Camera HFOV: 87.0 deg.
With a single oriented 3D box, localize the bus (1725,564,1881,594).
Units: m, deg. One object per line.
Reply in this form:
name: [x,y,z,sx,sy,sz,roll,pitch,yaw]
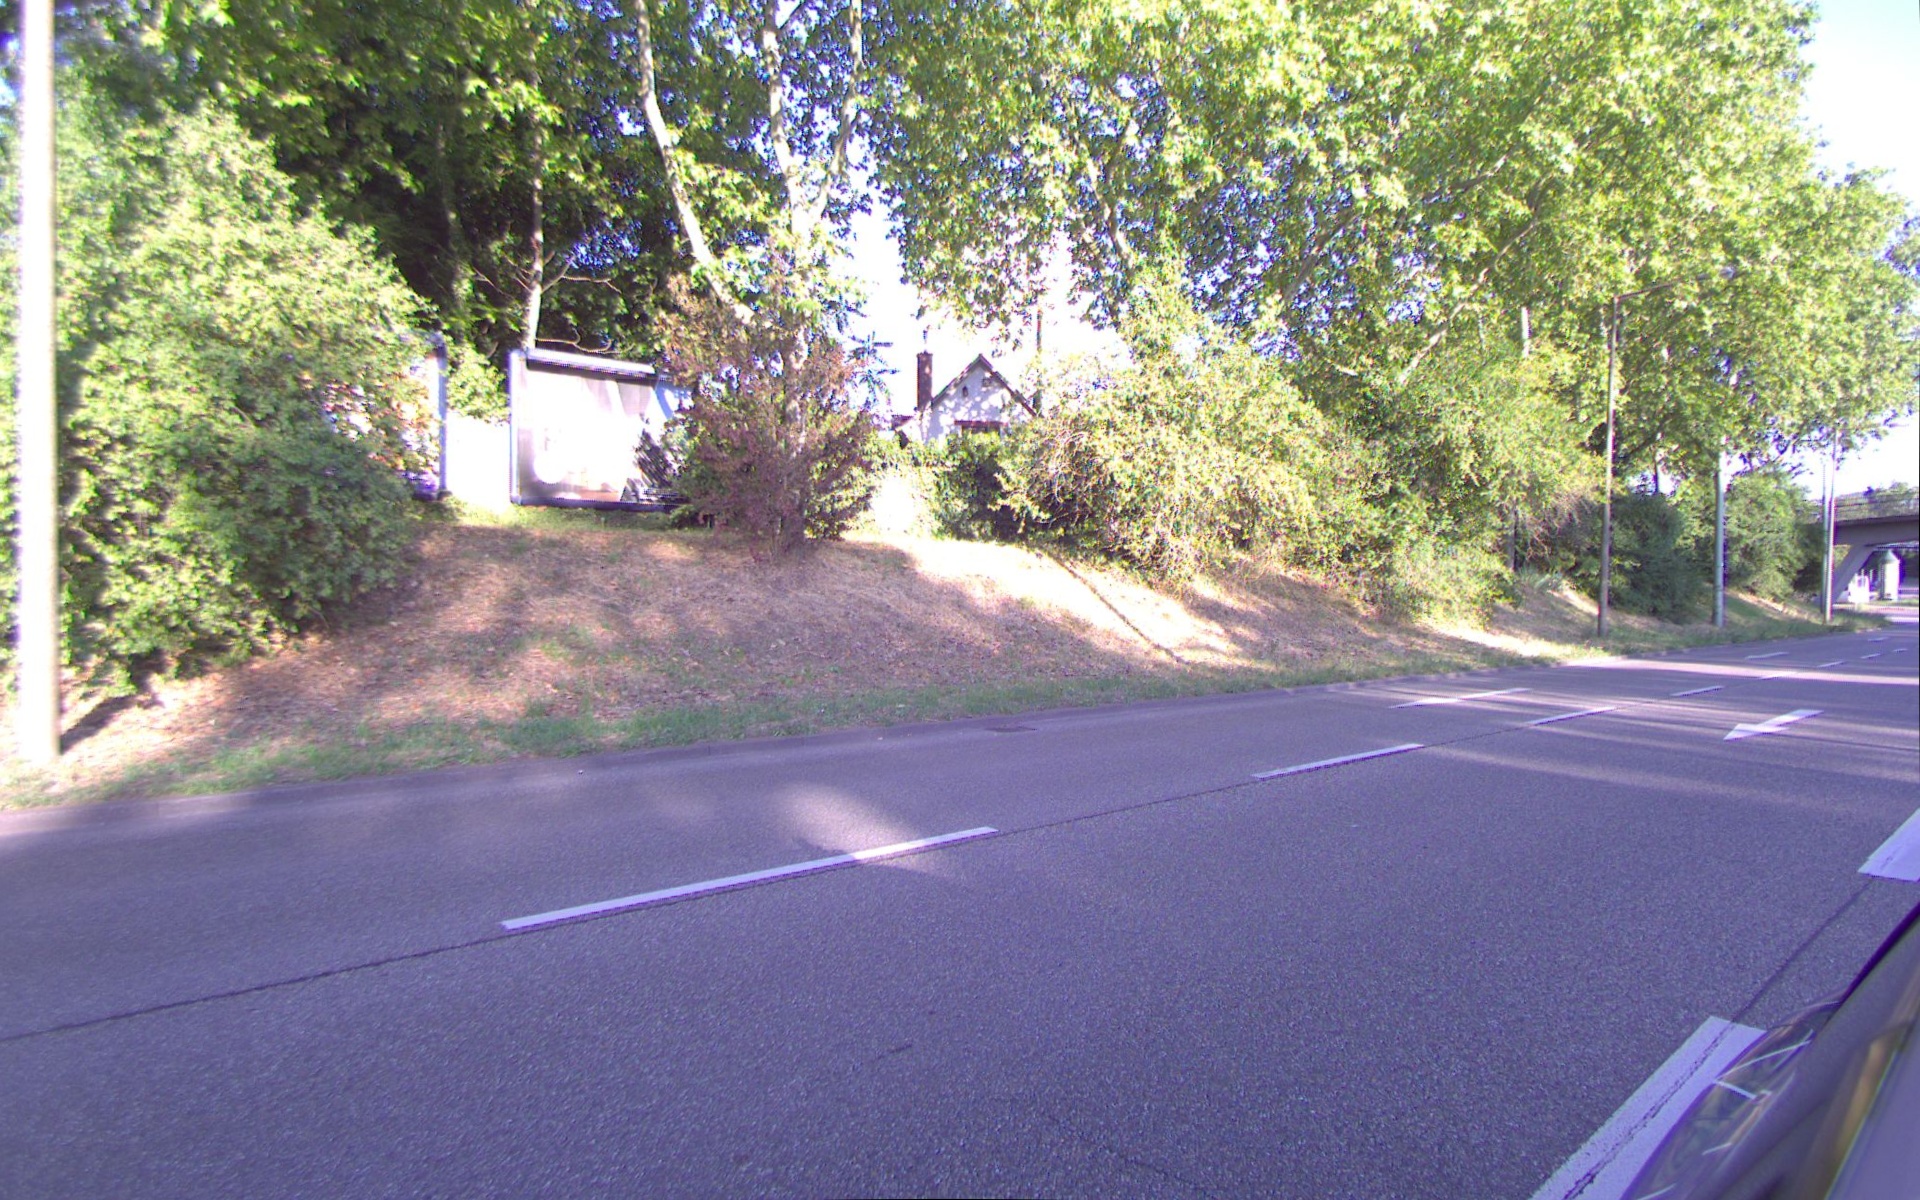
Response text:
bus: [87.331,-2.096,105.393,2.366,2.899,13.221,0,0,-19]
